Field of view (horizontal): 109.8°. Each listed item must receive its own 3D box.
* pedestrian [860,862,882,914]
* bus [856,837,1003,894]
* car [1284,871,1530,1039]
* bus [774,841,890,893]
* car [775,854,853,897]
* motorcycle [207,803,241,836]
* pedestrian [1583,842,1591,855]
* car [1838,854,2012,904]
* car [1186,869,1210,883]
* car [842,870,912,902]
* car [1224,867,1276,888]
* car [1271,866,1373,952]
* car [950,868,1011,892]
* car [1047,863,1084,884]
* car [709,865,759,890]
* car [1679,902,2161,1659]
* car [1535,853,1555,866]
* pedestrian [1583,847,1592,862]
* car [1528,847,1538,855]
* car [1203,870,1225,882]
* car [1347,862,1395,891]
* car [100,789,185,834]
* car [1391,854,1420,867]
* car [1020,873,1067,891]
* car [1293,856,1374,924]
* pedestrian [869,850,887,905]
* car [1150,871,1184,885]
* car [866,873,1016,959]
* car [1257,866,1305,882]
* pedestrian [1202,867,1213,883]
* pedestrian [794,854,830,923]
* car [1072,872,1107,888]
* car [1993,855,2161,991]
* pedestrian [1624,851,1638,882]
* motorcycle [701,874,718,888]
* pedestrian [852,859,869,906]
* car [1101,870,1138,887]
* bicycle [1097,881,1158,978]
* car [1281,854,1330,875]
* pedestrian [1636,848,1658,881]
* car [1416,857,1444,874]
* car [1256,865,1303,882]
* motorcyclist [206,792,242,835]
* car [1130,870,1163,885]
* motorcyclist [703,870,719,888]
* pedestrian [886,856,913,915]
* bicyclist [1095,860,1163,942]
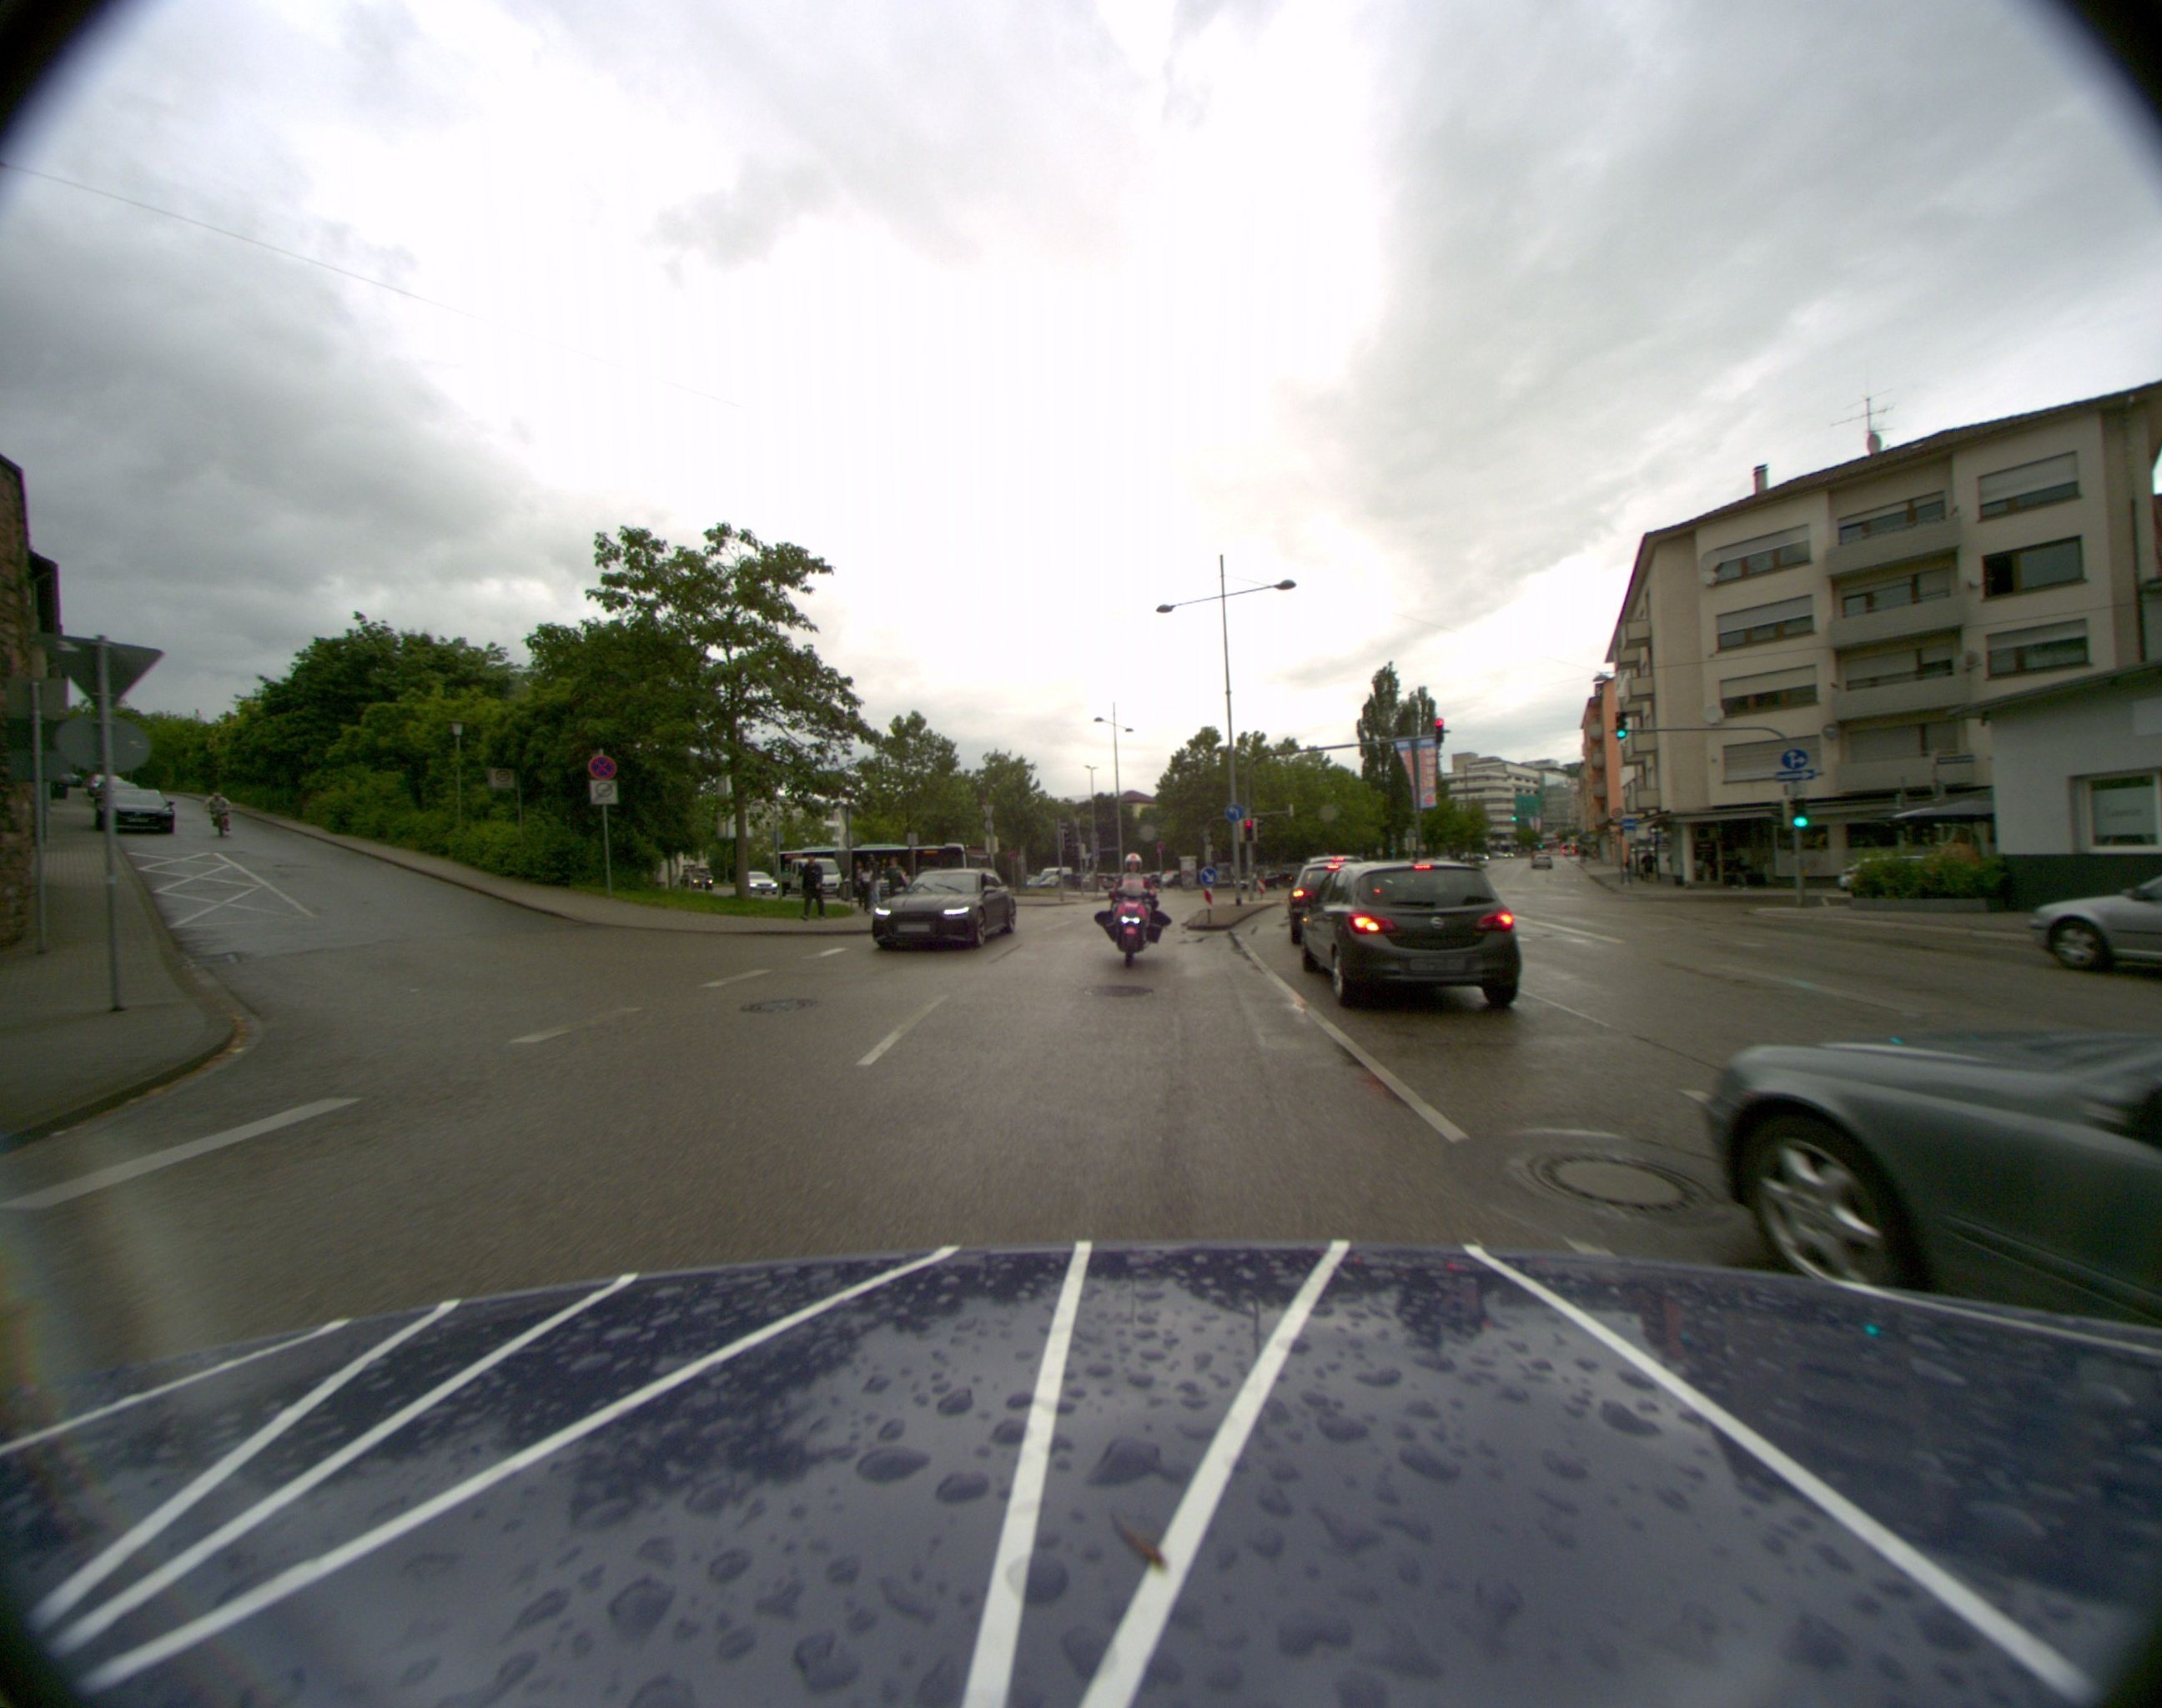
[{"bbox_3d":[-6.569,1.068,23.819,0.602,1.590,0.706,1,0,-12],"label":"pedestrian"},{"bbox_3d":[-9.287,0.724,45.790,9.631,3.197,2.711,-1,-1,34],"label":"bus"},{"bbox_3d":[3.516,0.990,8.983,1.647,1.444,3.992,-2,-1,8],"label":"car"},{"bbox_3d":[-16.782,0.912,50.911,8.537,3.162,2.693,-2,0,35],"label":"bus"},{"bbox_3d":[-15.175,1.153,42.867,2.260,2.221,6.325,-1,0,-37],"label":"car"},{"bbox_3d":[-34.956,-1.416,30.990,2.340,1.179,0.662,5,3,36],"label":"motorcycle"},{"bbox_3d":[65.752,-0.671,98.726,0.765,1.685,0.801,-2,0,30],"label":"pedestrian"},{"bbox_3d":[26.957,0.823,24.434,1.545,1.452,3.620,-1,-2,-44],"label":"car"},{"bbox_3d":[13.755,2.554,89.305,1.637,1.413,3.361,-3,-1,31],"label":"car"},{"bbox_3d":[-9.617,1.469,35.621,1.799,1.366,4.086,-1,0,-37],"label":"car"},{"bbox_3d":[11.948,1.610,53.532,1.892,1.391,4.370,-1,0,37],"label":"car"},{"bbox_3d":[4.481,0.969,14.562,1.558,1.389,3.732,-2,-2,13],"label":"car"},{"bbox_3d":[-6.302,1.626,47.468,3.560,1.442,1.594,-3,-3,34],"label":"car"},{"bbox_3d":[-1.756,2.248,87.363,1.968,2.305,5.023,-1,-1,30],"label":"car"},{"bbox_3d":[-24.346,1.671,53.212,2.004,1.642,4.863,-1,-1,-39],"label":"car"},{"bbox_3d":[3.004,0.914,0.638,1.736,1.431,4.414,-2,0,4],"label":"car"},{"bbox_3d":[48.388,0.573,79.330,1.677,1.384,4.160,0,0,30],"label":"car"},{"bbox_3d":[59.933,0.011,89.937,0.560,1.718,0.610,-6,-3,13],"label":"pedestrian"},{"bbox_3d":[86.330,-0.646,144.978,1.604,1.422,3.952,0,1,31],"label":"car"},{"bbox_3d":[16.480,2.762,93.847,1.528,1.418,3.845,-1,-1,28],"label":"car"},{"bbox_3d":[16.143,1.221,42.474,1.802,1.425,4.401,-4,-1,13],"label":"car"},{"bbox_3d":[-37.790,-1.738,30.576,3.987,1.527,1.911,5,2,36],"label":"car"},{"bbox_3d":[36.533,0.732,85.494,1.892,1.479,4.370,-1,0,37],"label":"car"},{"bbox_3d":[-3.205,2.393,65.789,1.852,1.431,4.271,-2,-1,33],"label":"car"},{"bbox_3d":[6.612,0.909,20.265,1.758,1.604,4.217,-1,-1,15],"label":"car"},{"bbox_3d":[-7.465,0.871,27.980,0.589,2.001,0.786,0,-1,-18],"label":"pedestrian"},{"bbox_3d":[8.934,2.447,78.449,1.734,1.431,4.454,-1,-2,32],"label":"car"},{"bbox_3d":[-2.629,1.125,15.379,1.896,1.396,4.363,1,0,5],"label":"car"},{"bbox_3d":[22.046,2.222,83.823,4.743,1.396,1.866,-6,-3,36],"label":"car"},{"bbox_3d":[13.154,2.150,78.924,0.765,1.622,0.863,-2,-2,35],"label":"pedestrian"},{"bbox_3d":[-6.716,0.860,18.999,0.572,1.676,0.964,1,-1,-3],"label":"pedestrian"},{"bbox_3d":[0.882,2.668,77.733,1.758,1.581,4.009,-1,-2,33],"label":"car"},{"bbox_3d":[12.355,0.760,7.765,1.731,1.358,4.113,-2,1,12],"label":"car"},{"bbox_3d":[30.804,0.704,42.559,0.452,1.719,0.525,-7,-4,36],"label":"pedestrian"},{"bbox_3d":[-29.382,2.128,60.096,0.572,1.112,2.682,-1,-1,-39],"label":"motorcycle"},{"bbox_3d":[-8.113,1.032,27.924,0.558,1.695,0.528,0,-1,-13],"label":"pedestrian"},{"bbox_3d":[3.864,2.439,75.943,1.758,1.581,4.186,-1,-2,33],"label":"car"},{"bbox_3d":[0.787,1.116,12.054,0.716,1.297,2.429,0,0,10],"label":"bicycle"},{"bbox_3d":[25.480,1.167,86.325,4.840,1.930,1.954,-7,-3,36],"label":"car"},{"bbox_3d":[30.491,0.575,40.962,0.778,1.718,0.662,-7,-4,35],"label":"pedestrian"},{"bbox_3d":[34.750,1.124,75.584,1.893,1.566,4.370,-1,0,33],"label":"car"},{"bbox_3d":[20.857,2.055,79.842,4.405,1.475,1.867,-6,-2,31],"label":"car"},{"bbox_3d":[-34.955,-1.654,30.987,0.965,1.635,0.838,6,3,36],"label":"motorcyclist"},{"bbox_3d":[6.942,2.467,80.039,1.758,1.581,4.009,-1,-2,33],"label":"car"},{"bbox_3d":[-29.249,1.993,60.062,0.808,1.428,1.237,-1,-1,-39],"label":"motorcyclist"},{"bbox_3d":[-5.718,0.995,23.964,0.743,1.819,0.693,1,0,-12],"label":"pedestrian"},{"bbox_3d":[0.763,0.744,11.971,0.962,1.218,0.716,-3,-4,8],"label":"bicyclist"}]
